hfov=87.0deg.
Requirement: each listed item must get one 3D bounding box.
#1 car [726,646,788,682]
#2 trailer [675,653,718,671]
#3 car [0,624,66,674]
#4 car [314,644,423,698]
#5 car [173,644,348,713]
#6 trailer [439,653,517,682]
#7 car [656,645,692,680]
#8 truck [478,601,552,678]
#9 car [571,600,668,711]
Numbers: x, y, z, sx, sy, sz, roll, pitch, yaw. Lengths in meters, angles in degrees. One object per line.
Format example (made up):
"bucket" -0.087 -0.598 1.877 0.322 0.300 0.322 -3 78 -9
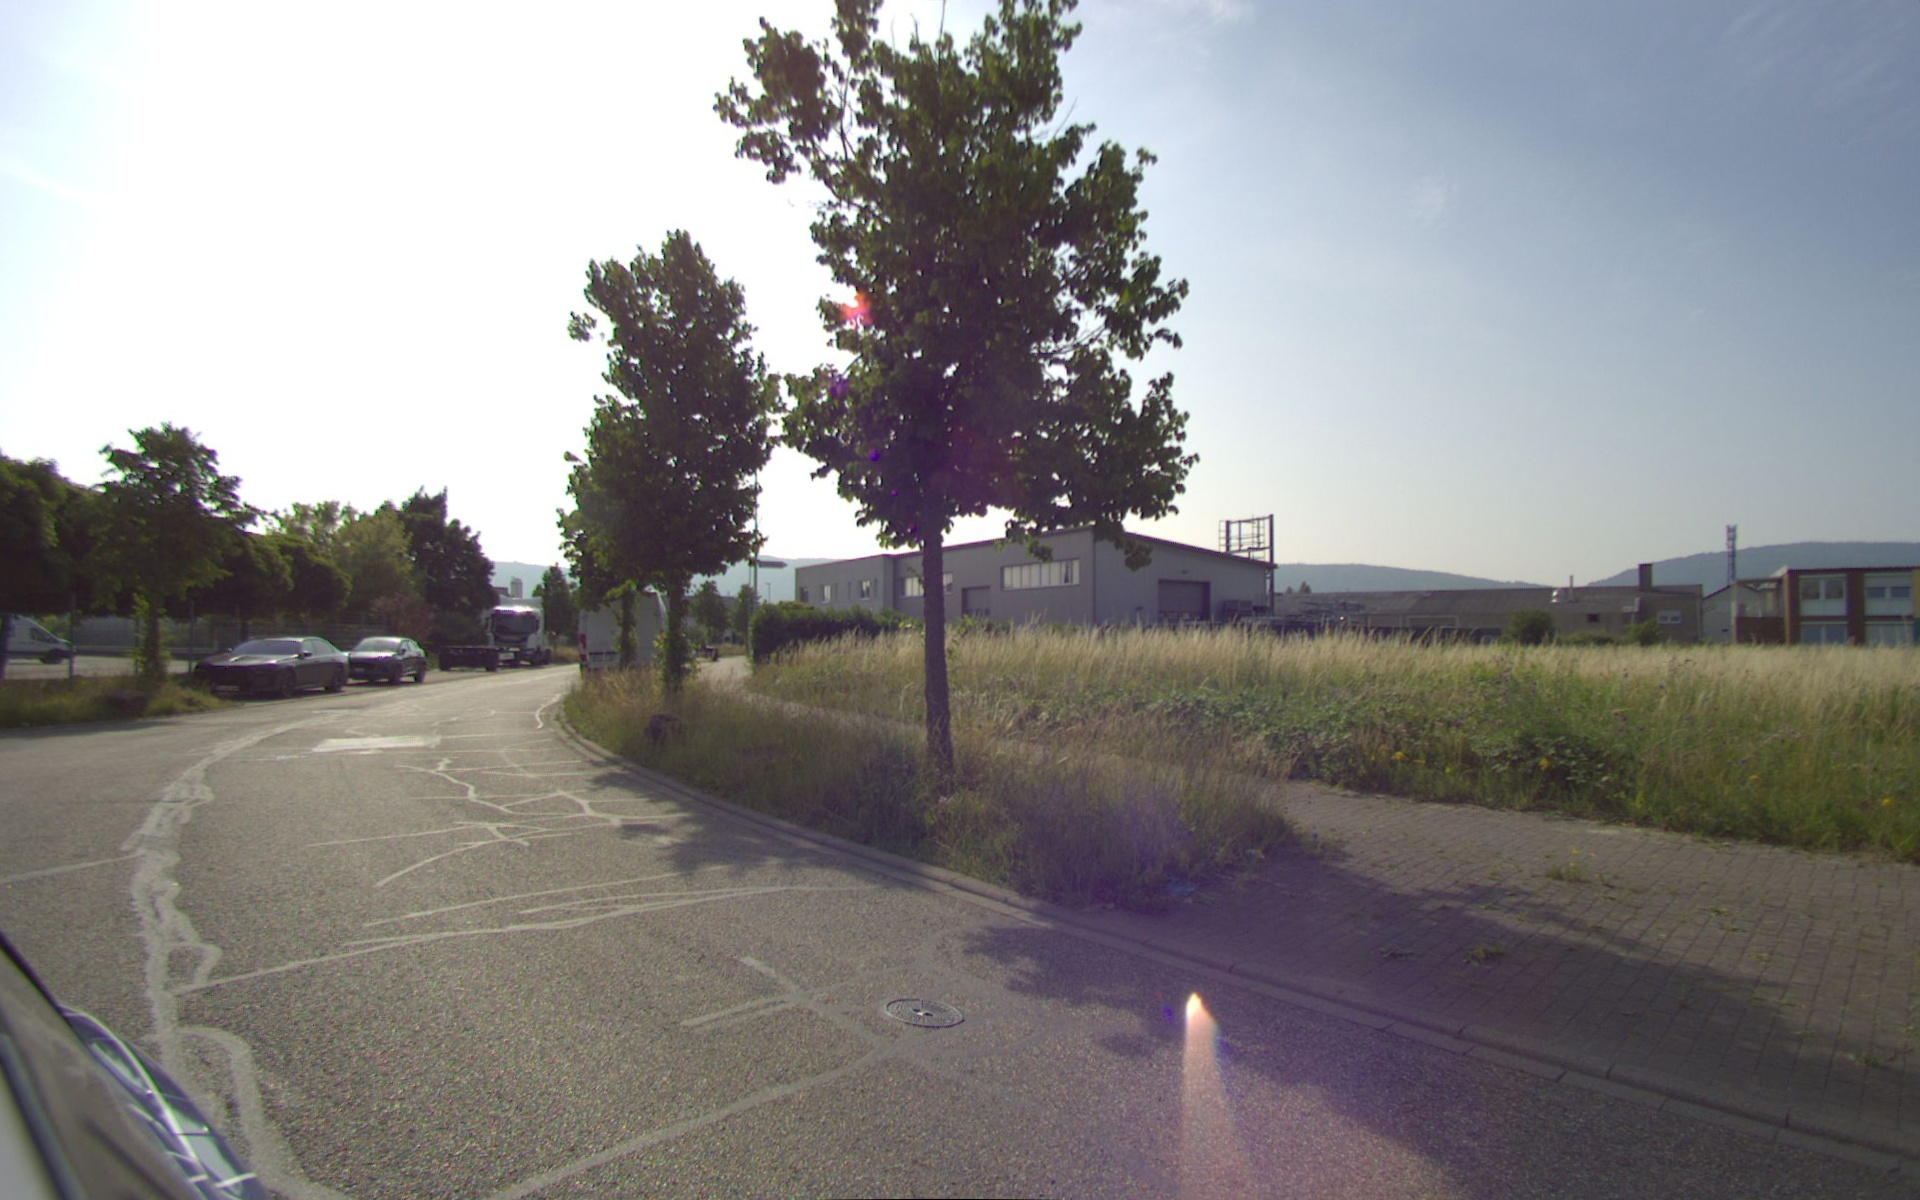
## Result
"car" -9.713 3.045 48.316 1.808 1.584 3.828 -1 -2 -29
"trailer" -18.119 4.262 70.094 2.512 1.082 9.754 -1 -3 -12
"car" -52.748 2.632 54.736 2.209 2.669 6.195 -2 -3 36
"car" -19.466 2.300 33.531 1.856 1.586 4.123 3 -3 -12
"car" -18.074 1.972 26.487 1.856 1.586 5.130 2 -3 -12
"trailer" -23.572 3.287 49.807 1.912 1.245 7.470 2 -3 -13
"car" -14.474 3.170 51.345 1.576 1.663 3.653 -1 -3 -12
"truck" -25.111 2.279 57.348 2.655 3.995 6.063 3 -4 -14
"car" -9.033 1.459 27.331 2.073 2.615 6.521 0 -3 -15
